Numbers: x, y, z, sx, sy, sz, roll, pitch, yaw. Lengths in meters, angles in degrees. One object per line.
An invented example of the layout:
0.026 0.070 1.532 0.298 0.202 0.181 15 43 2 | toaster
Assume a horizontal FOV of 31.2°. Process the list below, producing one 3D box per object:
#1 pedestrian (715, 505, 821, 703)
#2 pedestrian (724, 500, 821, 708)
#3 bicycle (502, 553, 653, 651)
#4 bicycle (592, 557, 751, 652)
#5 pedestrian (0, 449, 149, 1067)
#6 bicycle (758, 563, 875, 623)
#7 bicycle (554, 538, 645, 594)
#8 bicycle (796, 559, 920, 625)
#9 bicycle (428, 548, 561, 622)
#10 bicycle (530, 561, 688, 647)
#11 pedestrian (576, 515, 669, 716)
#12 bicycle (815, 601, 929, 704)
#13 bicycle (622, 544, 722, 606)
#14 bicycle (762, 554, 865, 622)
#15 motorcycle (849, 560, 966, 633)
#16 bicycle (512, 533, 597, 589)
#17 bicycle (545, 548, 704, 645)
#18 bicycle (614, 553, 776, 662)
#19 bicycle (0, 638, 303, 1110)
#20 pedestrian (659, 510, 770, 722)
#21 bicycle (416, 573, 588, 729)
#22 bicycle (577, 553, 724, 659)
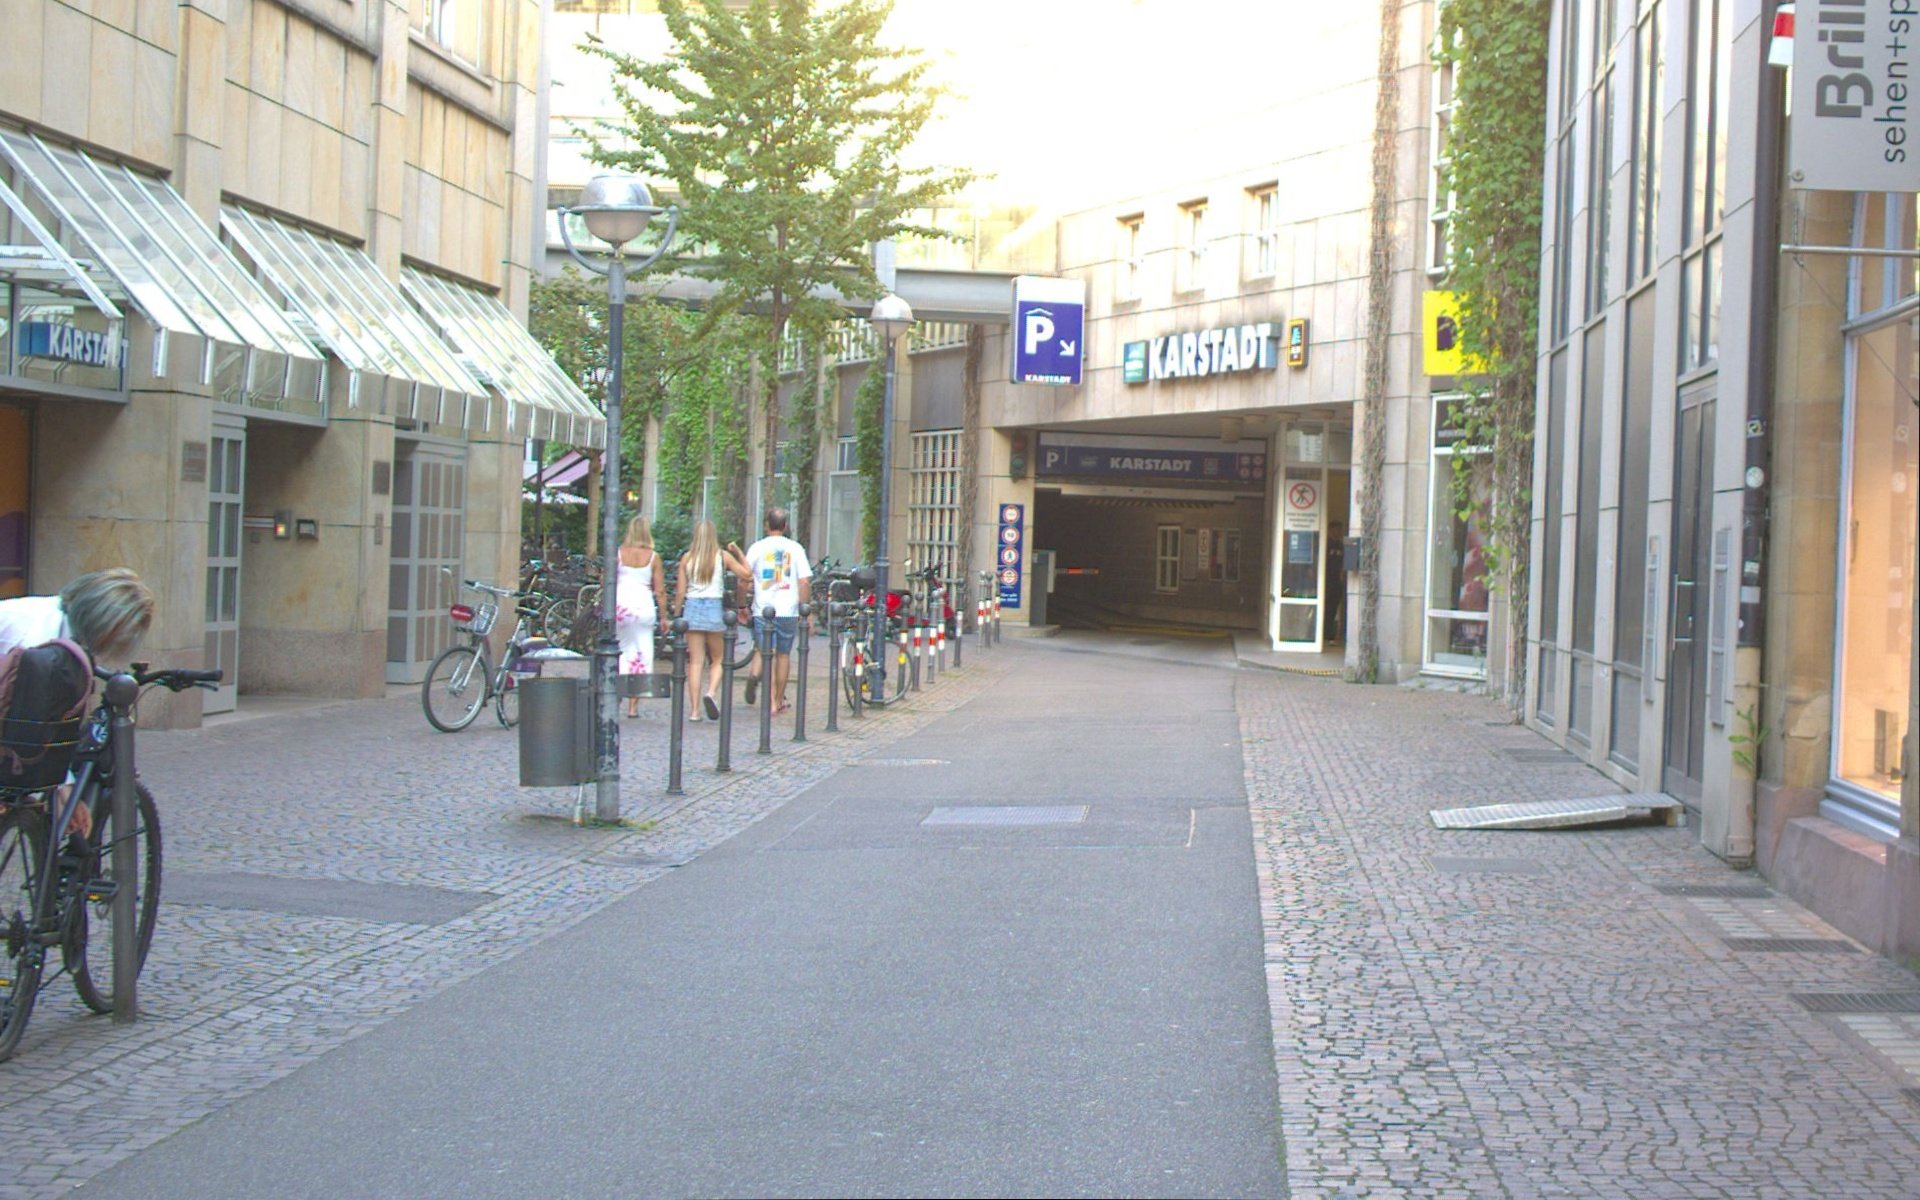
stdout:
-1.778 0.024 31.899 0.785 1.789 0.972 2 1 7 | pedestrian
-1.668 0.026 30.739 0.742 1.816 0.878 1 1 3 | pedestrian
-4.899 0.024 44.083 1.833 1.221 0.534 1 1 -18 | bicycle
-3.514 0.051 41.819 1.836 1.118 0.534 1 1 -18 | bicycle
-2.850 0.419 9.905 0.768 1.712 0.592 4 1 4 | pedestrian
-2.265 -0.106 54.206 1.773 0.901 0.464 1 1 -16 | bicycle
-7.397 -0.693 70.469 1.773 1.110 0.543 1 1 -13 | bicycle
-1.584 -0.117 53.302 1.847 0.978 0.464 1 1 -16 | bicycle
-6.734 -0.221 49.771 1.824 1.039 0.534 1 1 -18 | bicycle
-4.425 0.052 43.373 1.893 1.048 0.534 1 1 -18 | bicycle
-2.857 0.121 29.142 0.674 1.659 0.860 2 1 -2 | pedestrian
-0.833 0.491 32.991 0.493 0.935 1.657 3 1 19 | bicycle
-5.410 -0.470 64.537 1.773 1.110 0.543 1 1 -16 | bicycle
-2.353 -0.189 55.183 1.539 1.045 0.575 1 1 -16 | bicycle
-0.785 -0.056 51.516 1.662 1.047 0.464 1 1 -16 | motorcycle
-8.940 -0.867 75.786 1.773 1.186 0.586 1 1 -16 | bicycle
-4.179 -0.042 42.823 1.872 1.173 0.534 1 1 -18 | bicycle
-3.054 0.089 39.610 1.766 1.226 0.534 1 1 -18 | bicycle
-2.472 0.729 9.986 0.533 1.149 1.914 4 1 5 | bicycle
-2.059 0.123 28.935 0.806 1.723 0.949 2 1 0 | pedestrian
-3.490 0.369 26.351 0.522 1.134 1.763 2 1 20 | bicycle
-3.686 0.072 40.938 1.653 1.226 0.534 1 1 -18 | bicycle
